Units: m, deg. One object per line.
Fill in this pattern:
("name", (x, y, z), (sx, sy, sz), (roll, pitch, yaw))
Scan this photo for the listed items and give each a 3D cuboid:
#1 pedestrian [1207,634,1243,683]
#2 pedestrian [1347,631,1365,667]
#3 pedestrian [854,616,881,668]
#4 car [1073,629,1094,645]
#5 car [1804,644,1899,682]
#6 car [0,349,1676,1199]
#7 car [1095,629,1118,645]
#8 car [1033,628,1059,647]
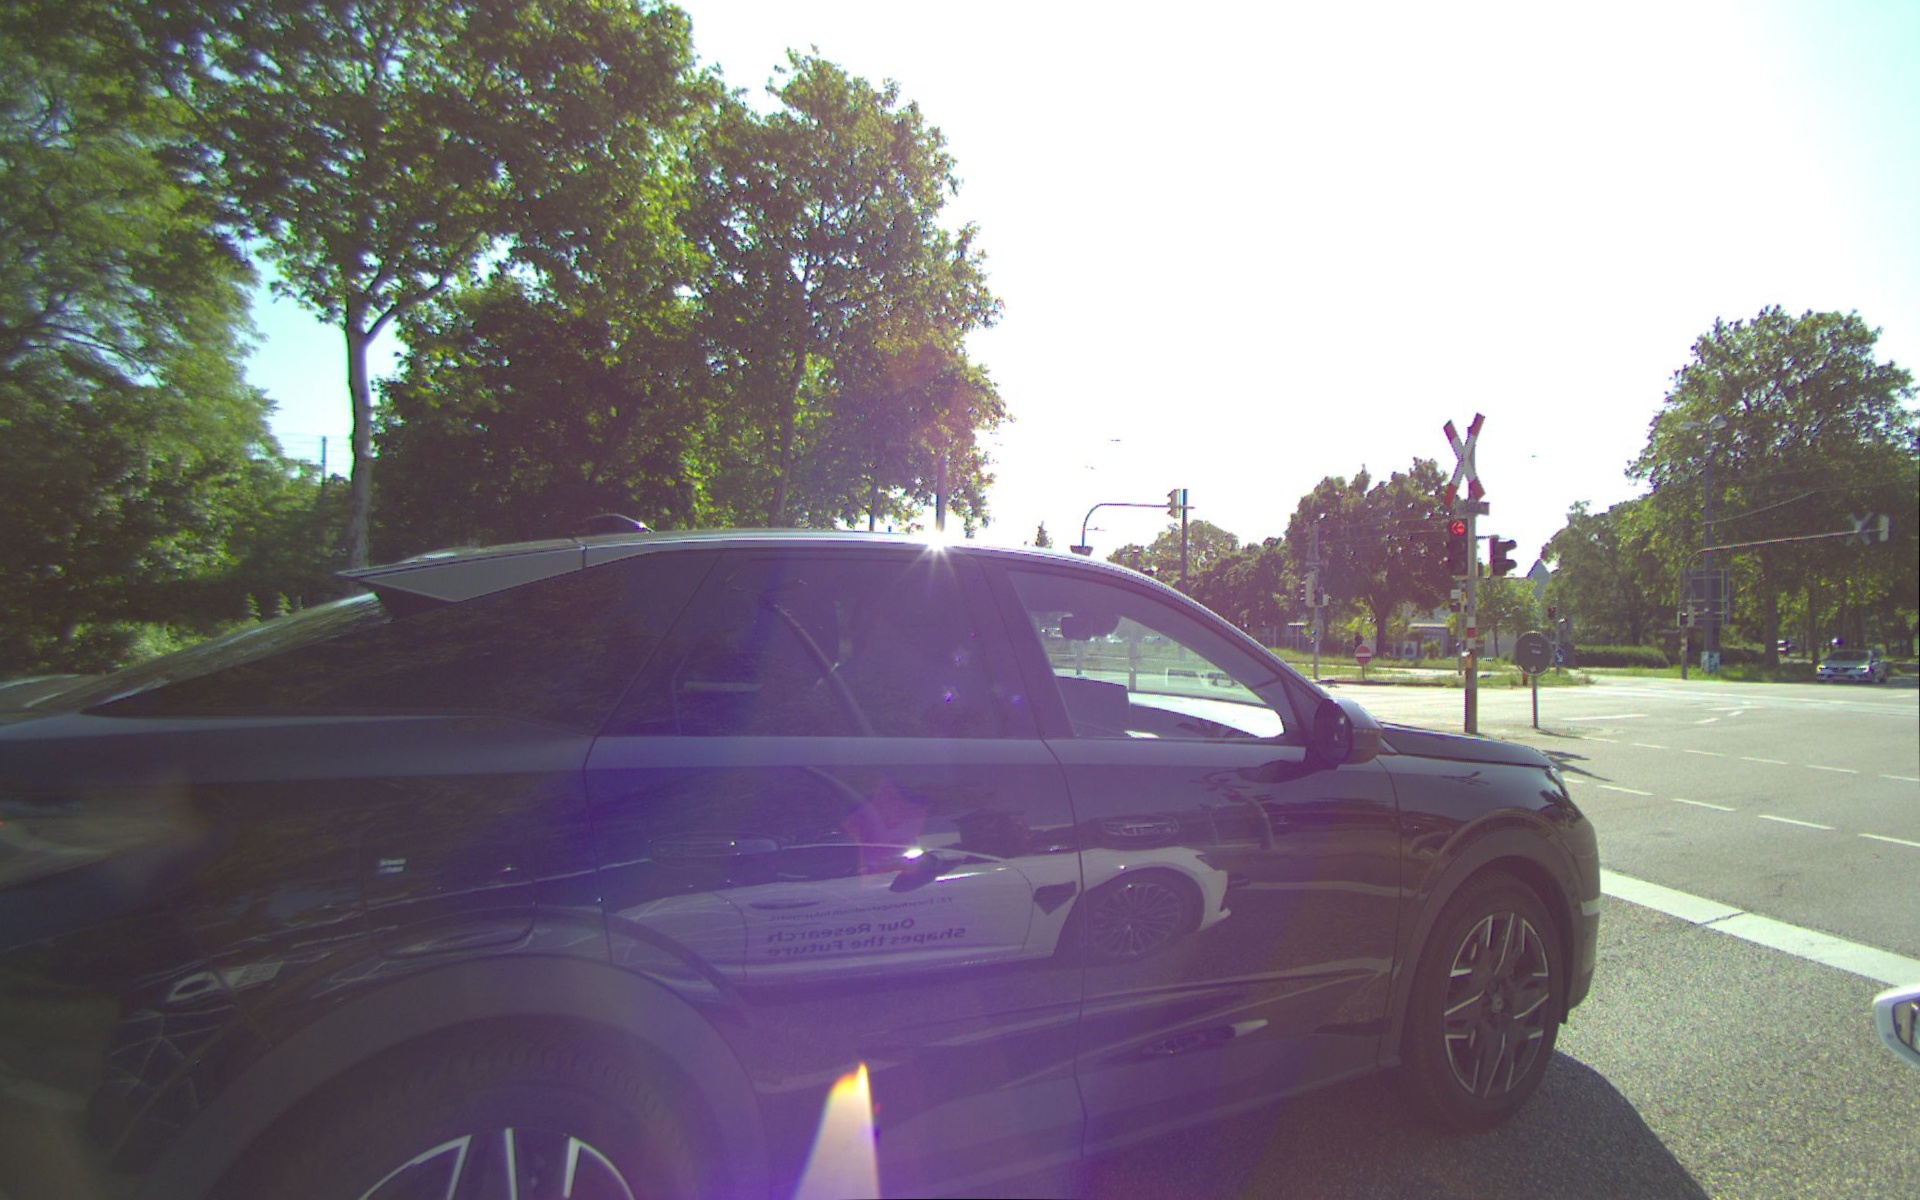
("pedestrian", (8.273, 1.820, 31.343), (0.857, 1.520, 0.696), (1, -2, -22))
("pedestrian", (23.124, 2.845, 58.652), (0.707, 2.040, 0.786), (2, -2, -43))
("pedestrian", (-2.792, 1.274, 30.308), (0.563, 1.554, 0.601), (2, -2, -36))
("car", (11.474, 3.436, 93.707), (1.323, 1.465, 3.340), (1, -2, -4))
("car", (38.387, 2.680, 43.224), (4.606, 1.528, 1.686), (2, -2, -30))
("car", (-0.027, 0.607, 2.968), (4.384, 1.719, 1.863), (2, -1, -30))
("car", (13.645, 3.473, 93.812), (1.421, 1.465, 3.340), (1, -2, -4))
("car", (7.998, 3.465, 93.277), (1.780, 1.725, 3.985), (1, -2, -4))
